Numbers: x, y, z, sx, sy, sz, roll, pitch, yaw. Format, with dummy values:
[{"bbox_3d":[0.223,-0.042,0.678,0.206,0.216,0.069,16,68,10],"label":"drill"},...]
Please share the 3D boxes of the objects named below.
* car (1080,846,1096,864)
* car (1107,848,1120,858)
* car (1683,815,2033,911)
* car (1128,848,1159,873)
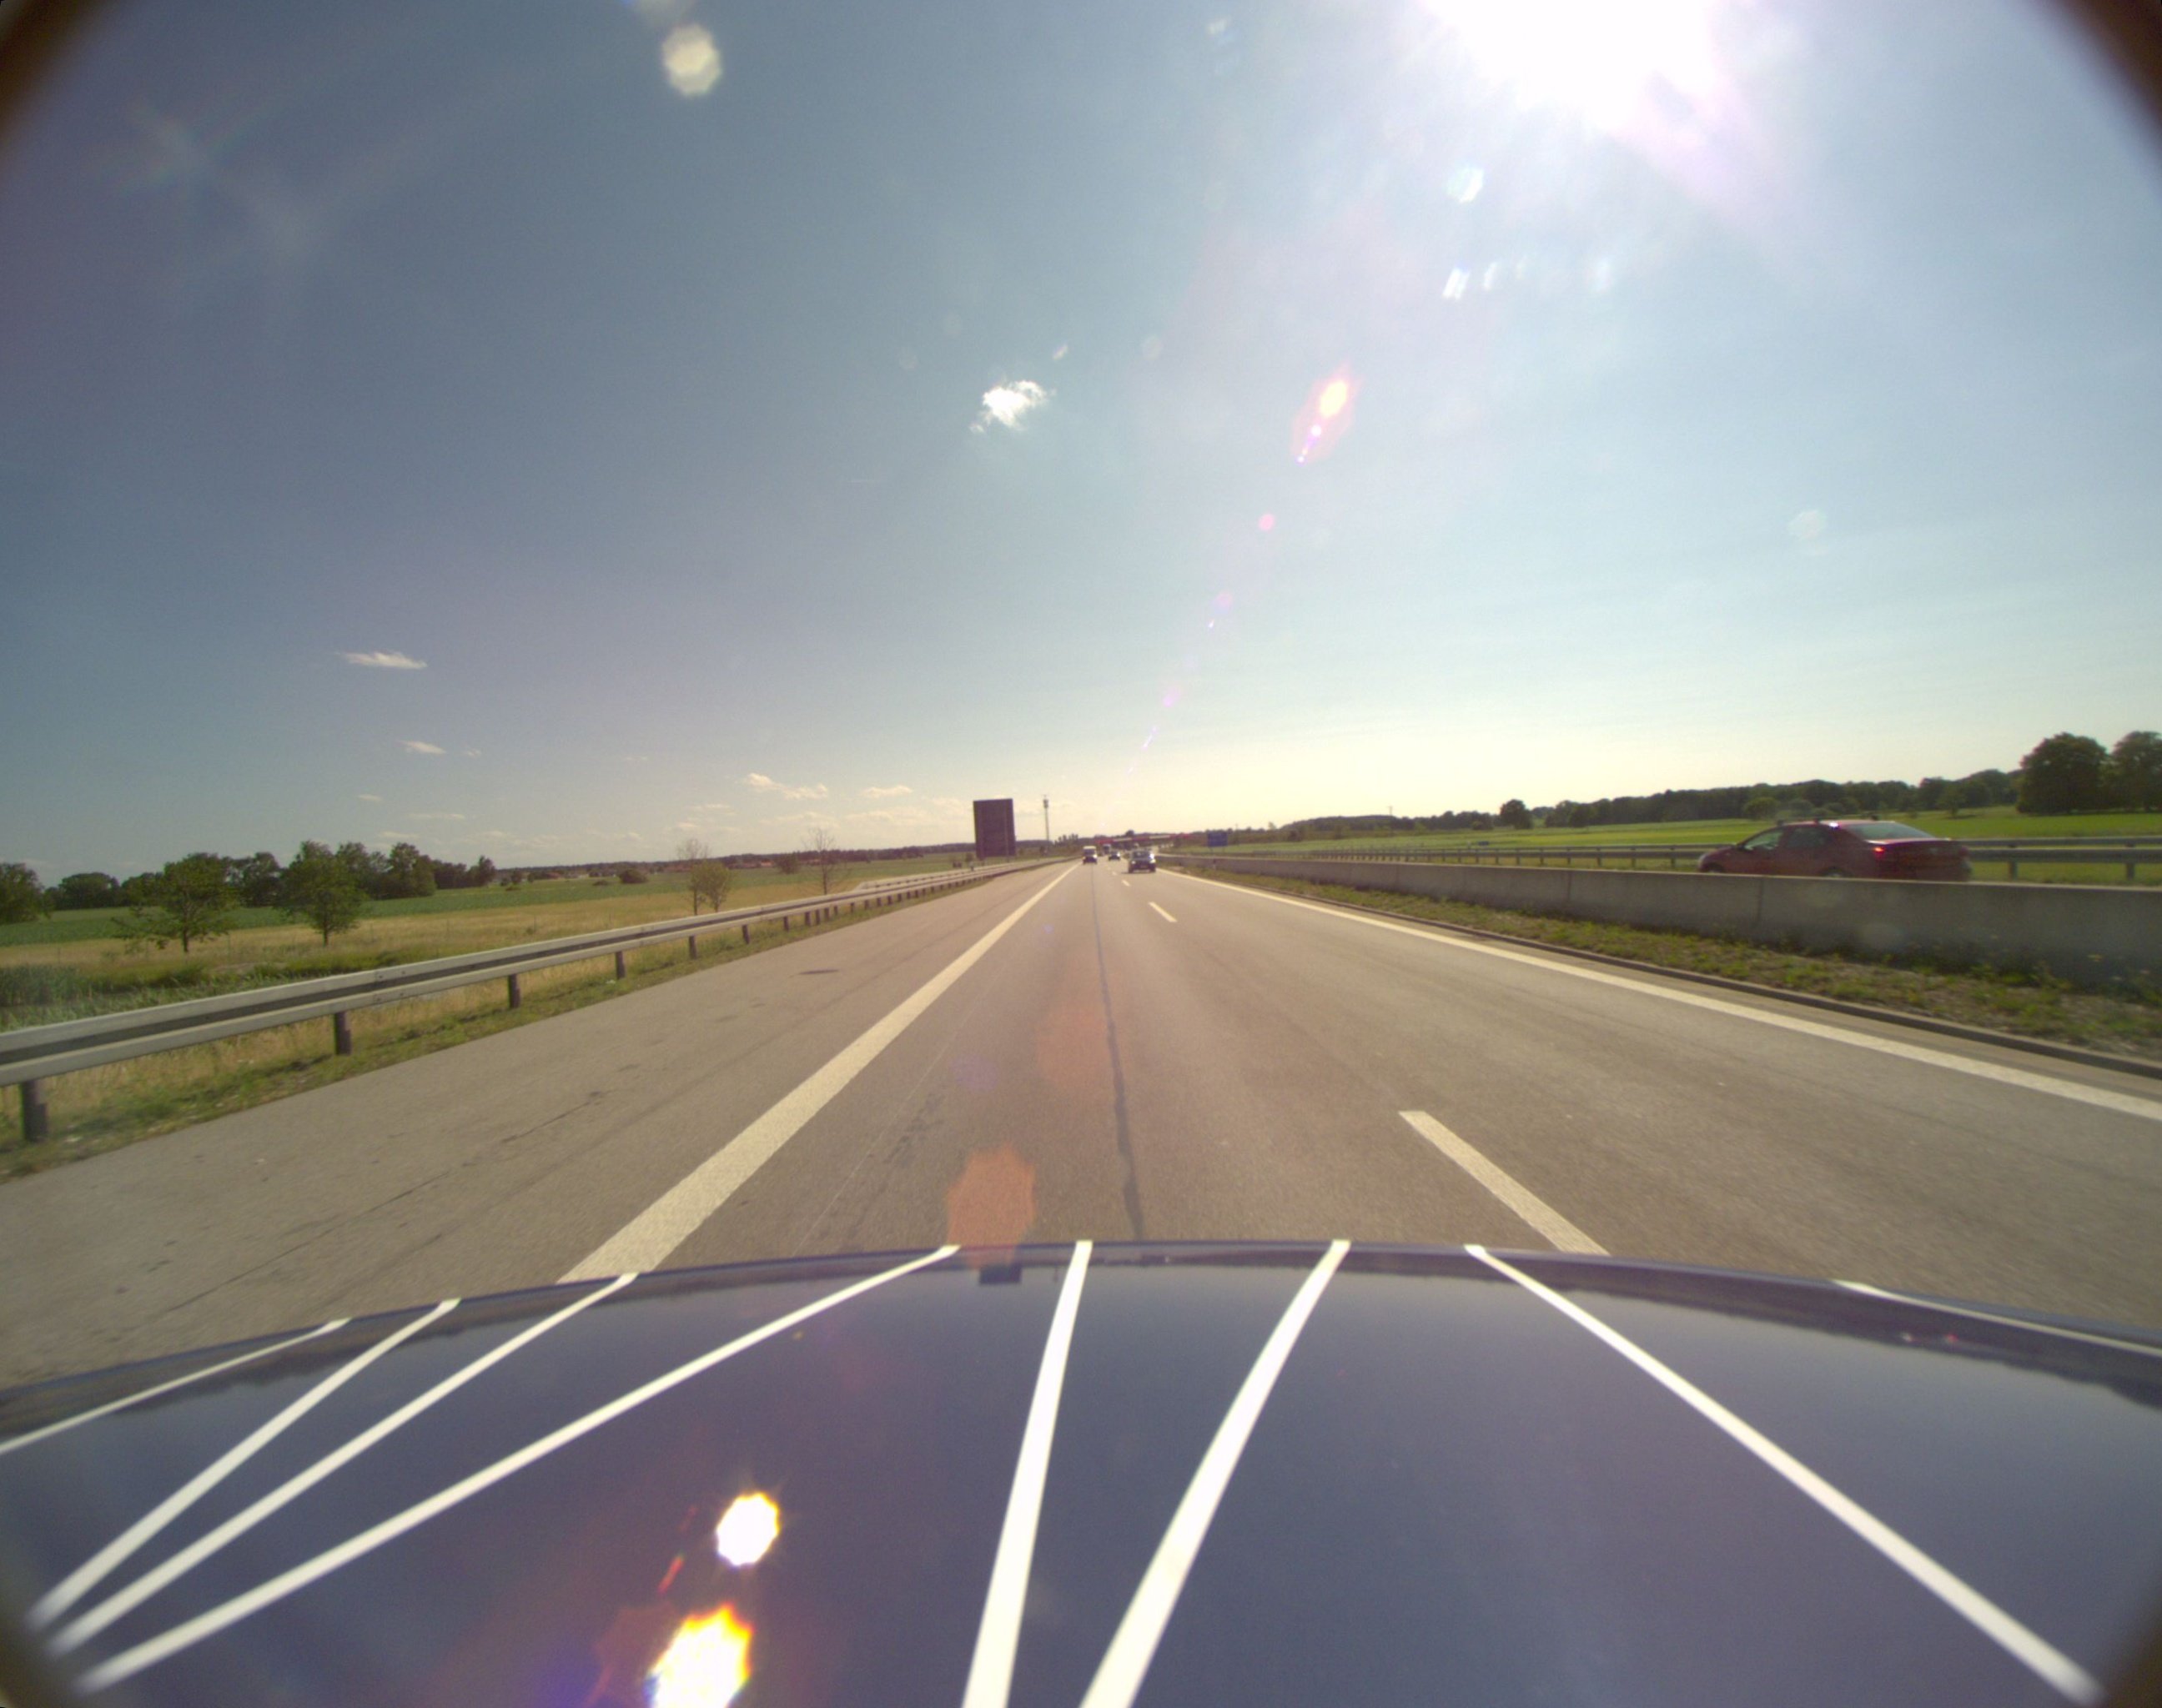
[{"bbox_3d":[0.951,0.137,102.568,2.030,2.225,4.818,-3,1,1],"label":"car"},{"bbox_3d":[5.585,-0.148,130.982,2.030,1.600,4.818,-3,1,1],"label":"car"},{"bbox_3d":[14.464,0.122,14.690,1.902,1.514,4.805,-1,1,1],"label":"car"},{"bbox_3d":[4.515,0.438,55.278,2.030,1.601,4.818,-4,1,3],"label":"car"}]
